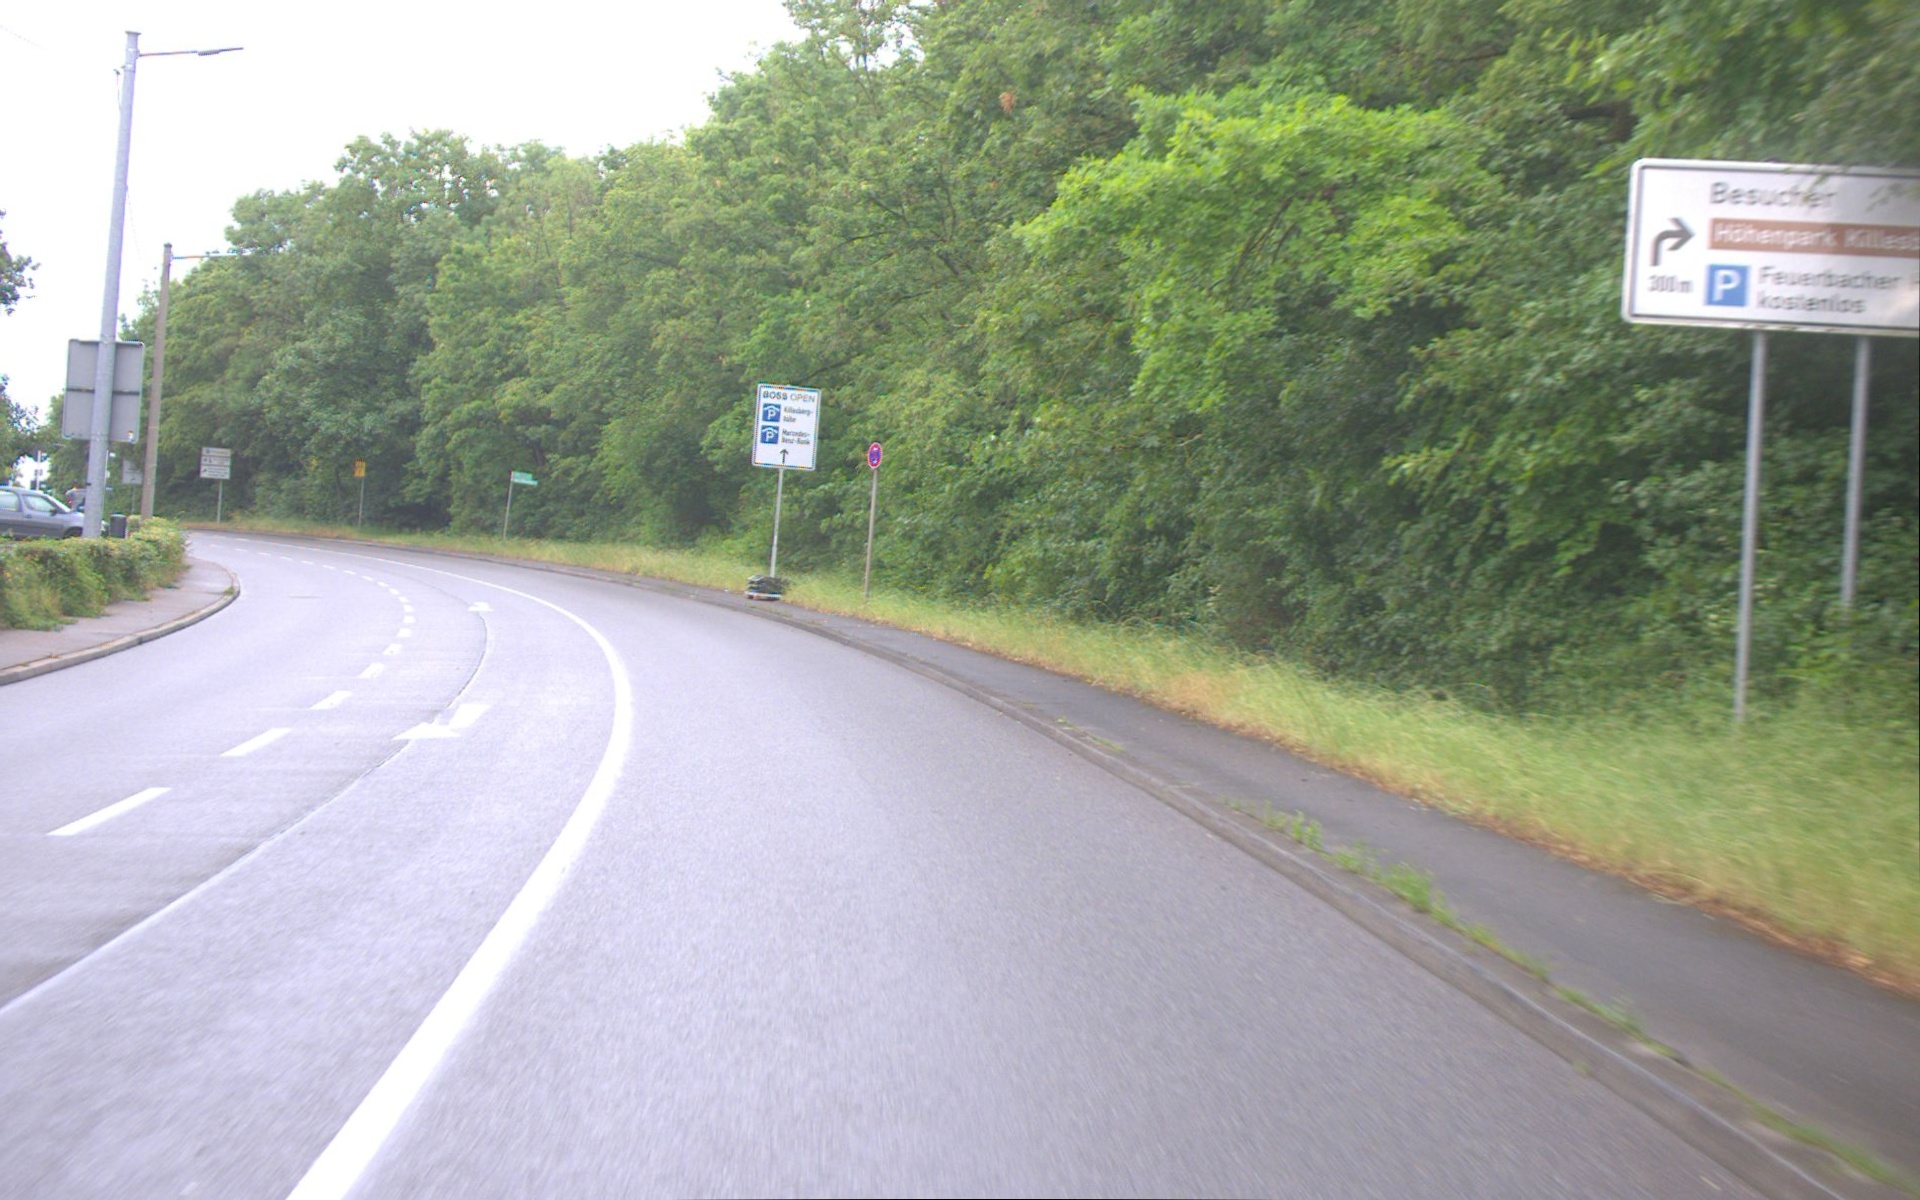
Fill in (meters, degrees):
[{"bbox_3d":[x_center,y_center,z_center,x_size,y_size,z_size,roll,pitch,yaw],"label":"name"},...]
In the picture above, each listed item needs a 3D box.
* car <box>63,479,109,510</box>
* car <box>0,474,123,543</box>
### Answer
[{"bbox_3d":[-45.524,-5.493,179.078,1.934,1.493,4.320,2,2,-19],"label":"car"},{"bbox_3d":[-24.600,-2.464,91.642,4.289,1.702,2.001,2,1,-11],"label":"car"}]
